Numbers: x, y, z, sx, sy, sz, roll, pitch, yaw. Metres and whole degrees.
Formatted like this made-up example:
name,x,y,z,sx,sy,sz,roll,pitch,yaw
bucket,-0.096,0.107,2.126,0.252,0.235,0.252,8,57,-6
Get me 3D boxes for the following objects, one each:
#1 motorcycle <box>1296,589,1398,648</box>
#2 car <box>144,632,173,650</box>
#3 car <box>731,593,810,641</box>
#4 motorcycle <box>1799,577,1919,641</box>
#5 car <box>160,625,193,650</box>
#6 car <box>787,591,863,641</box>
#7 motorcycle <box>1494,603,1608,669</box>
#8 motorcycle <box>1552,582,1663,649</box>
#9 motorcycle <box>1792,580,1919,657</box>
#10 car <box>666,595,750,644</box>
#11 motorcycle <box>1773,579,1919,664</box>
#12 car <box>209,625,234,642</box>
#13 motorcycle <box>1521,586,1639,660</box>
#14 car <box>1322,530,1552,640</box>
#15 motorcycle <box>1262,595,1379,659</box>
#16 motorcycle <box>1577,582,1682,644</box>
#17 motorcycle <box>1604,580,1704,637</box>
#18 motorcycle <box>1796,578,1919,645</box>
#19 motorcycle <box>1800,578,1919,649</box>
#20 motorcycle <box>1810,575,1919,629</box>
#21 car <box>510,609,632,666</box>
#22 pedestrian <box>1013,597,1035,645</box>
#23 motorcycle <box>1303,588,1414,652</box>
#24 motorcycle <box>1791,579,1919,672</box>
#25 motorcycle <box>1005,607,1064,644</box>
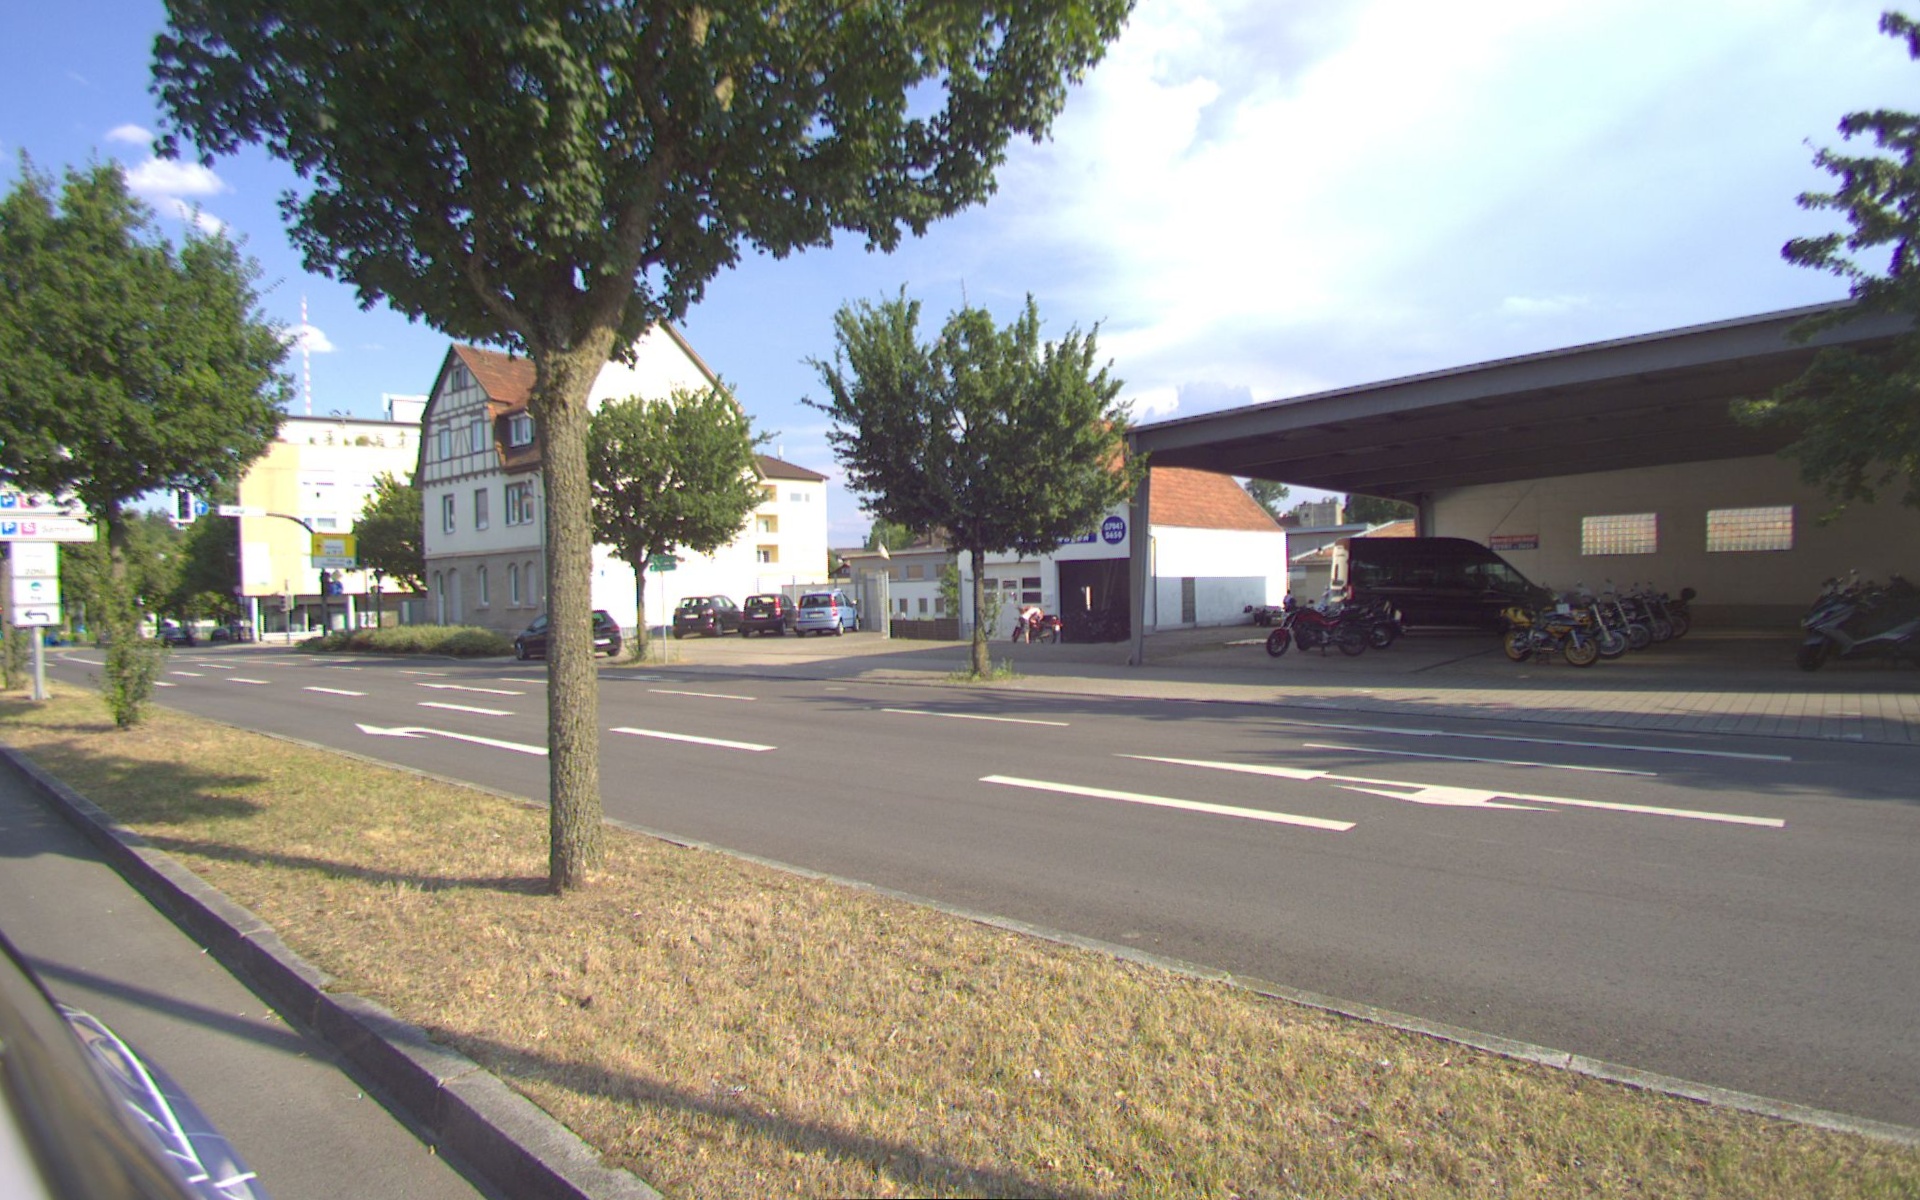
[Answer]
name,x,y,z,sx,sy,sz,roll,pitch,yaw
motorcycle,9.384,0.448,24.603,2.198,1.372,0.630,-1,0,5
car,-73.654,3.750,93.044,1.753,1.480,4.385,-1,0,-34
car,-6.916,0.583,37.303,1.797,1.512,3.819,-3,2,5
motorcycle,20.234,0.202,22.640,2.103,1.306,0.628,-3,-1,17
car,-56.880,2.709,73.482,1.754,1.706,4.009,-1,0,-36
car,-4.677,0.517,35.673,1.797,1.512,3.819,-3,2,5
motorcycle,10.537,0.616,18.147,0.621,1.095,2.038,-1,0,-7
motorcycle,13.870,0.320,21.765,0.621,1.347,2.269,-1,0,-9
motorcycle,16.537,0.336,18.344,2.103,1.306,0.628,-3,-1,17
car,-9.316,0.688,37.695,1.797,1.512,3.819,-3,2,5
motorcycle,14.919,0.357,16.772,2.103,1.306,0.628,-3,-1,17
car,-83.405,3.764,114.264,1.752,1.706,4.013,-1,0,-28
motorcycle,12.164,0.434,19.952,0.621,1.347,2.269,-1,0,-9
car,12.871,-0.383,27.624,5.221,2.773,1.996,-1,0,7
motorcycle,7.502,0.558,21.156,2.202,1.290,0.629,-1,0,11
motorcycle,15.543,0.298,23.575,0.621,1.347,2.269,-1,0,-9
motorcycle,17.296,0.215,25.299,0.621,1.347,2.269,-1,0,-9
motorcycle,19.040,0.252,21.285,2.103,1.306,0.628,-3,-1,17
motorcycle,18.051,0.265,19.984,2.103,1.306,0.628,-3,-1,17
motorcycle,23.740,0.067,26.517,2.103,1.306,0.628,-3,-1,17
car,-11.594,1.078,30.072,3.823,1.462,1.795,-1,2,42
pedestrian,2.078,0.672,32.760,0.485,1.530,0.496,-1,0,41
motorcycle,8.962,0.447,22.800,2.198,1.372,0.630,-1,0,5
motorcycle,13.867,0.372,15.111,2.103,1.306,0.628,-3,-1,17
motorcycle,2.439,0.835,33.206,1.974,1.194,0.577,-1,0,41
